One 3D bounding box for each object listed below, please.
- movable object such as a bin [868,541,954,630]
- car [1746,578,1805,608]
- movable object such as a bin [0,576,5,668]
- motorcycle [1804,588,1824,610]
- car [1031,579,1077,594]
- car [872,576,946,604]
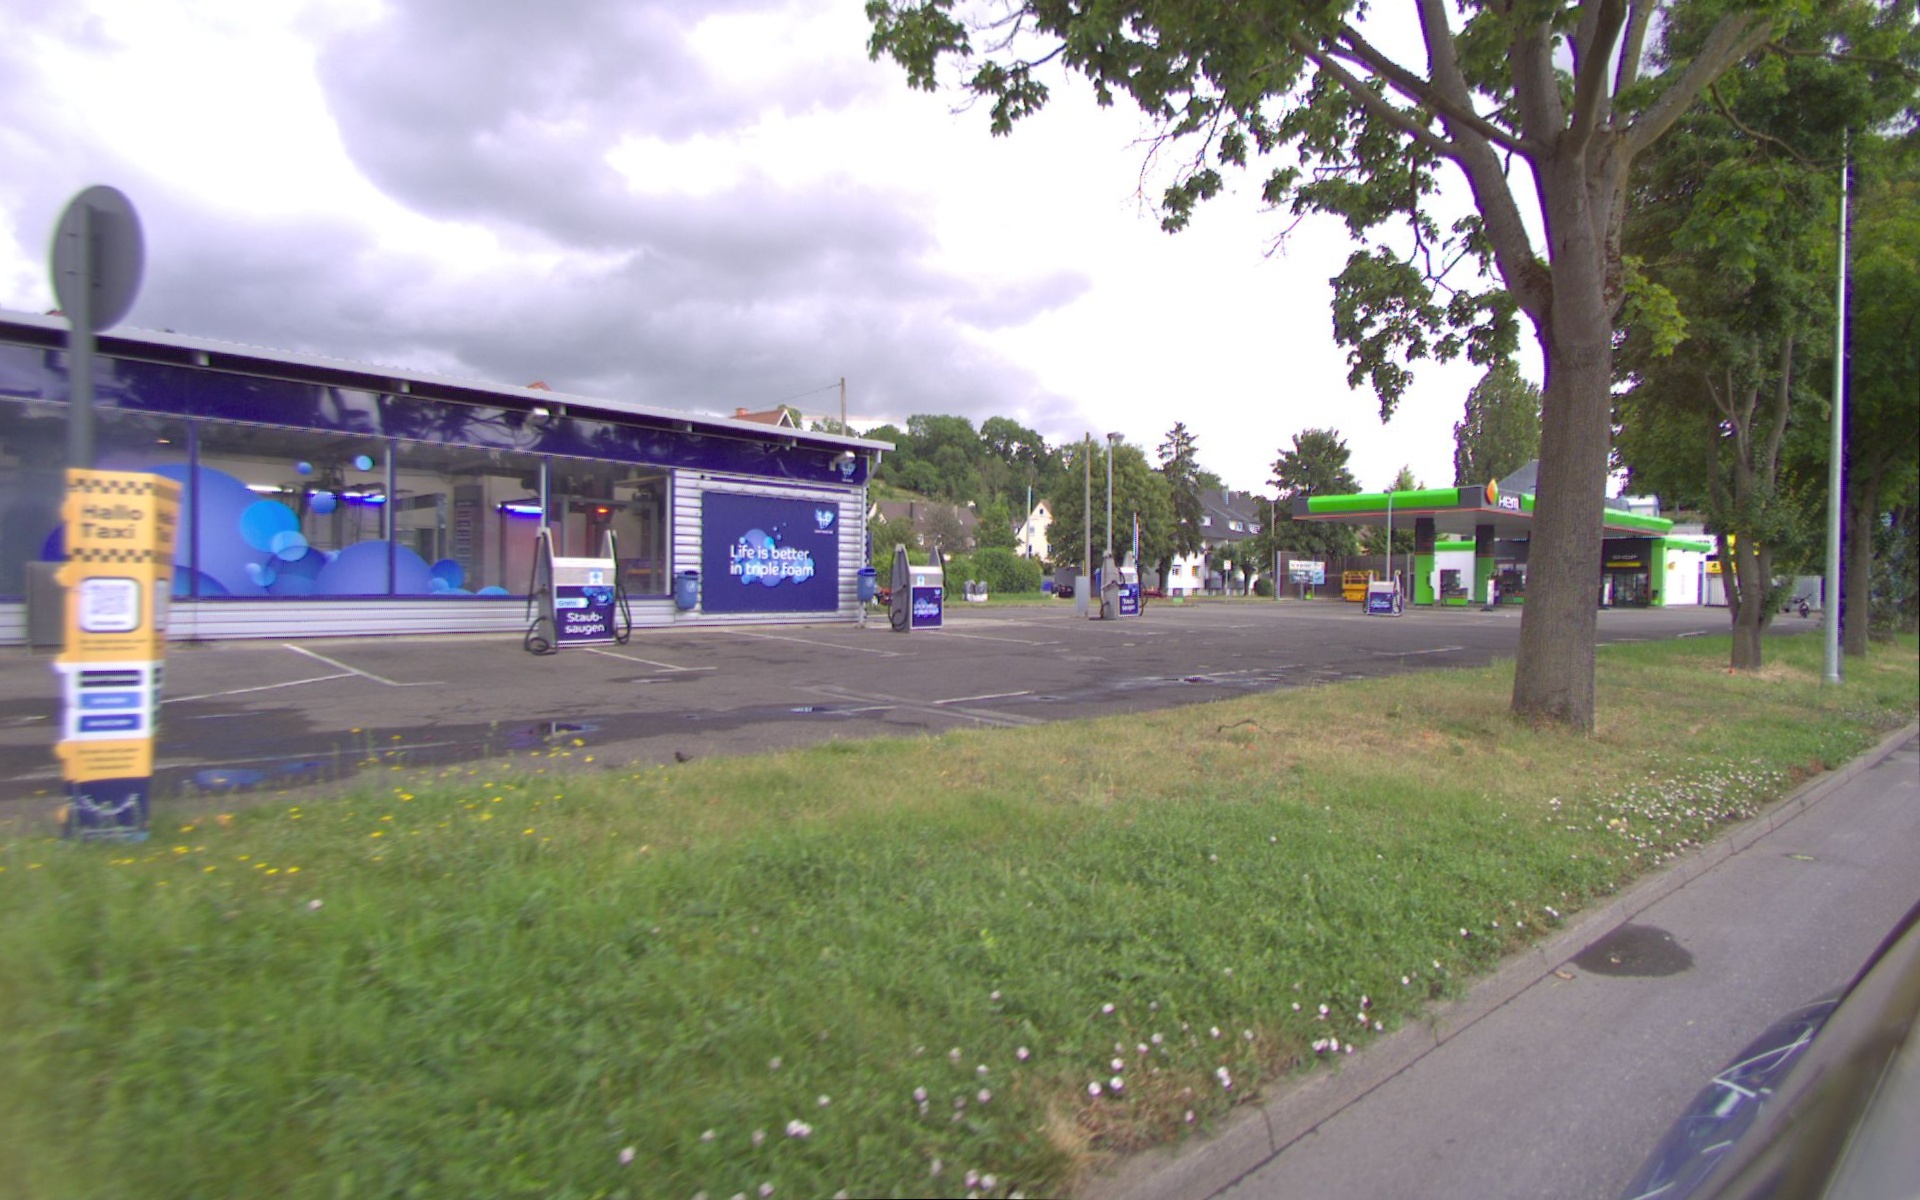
[{"bbox_3d":[-1.048,-0.317,21.710,1.431,1.841,1.159,0,1,-44],"label":"movable object such as a bin"},{"bbox_3d":[49.786,-0.450,61.760,4.250,1.658,1.998,0,4,-40],"label":"car"},{"bbox_3d":[-11.117,0.230,10.929,1.169,0.988,1.159,0,1,-44],"label":"movable object such as a bin"},{"bbox_3d":[47.339,-0.065,56.106,0.702,1.201,2.351,2,1,43],"label":"motorcycle"},{"bbox_3d":[8.610,-1.247,92.794,1.813,1.234,3.989,0,2,-45],"label":"car"},{"bbox_3d":[-2.796,-0.540,56.103,1.988,1.483,3.946,-2,-1,37],"label":"car"}]
